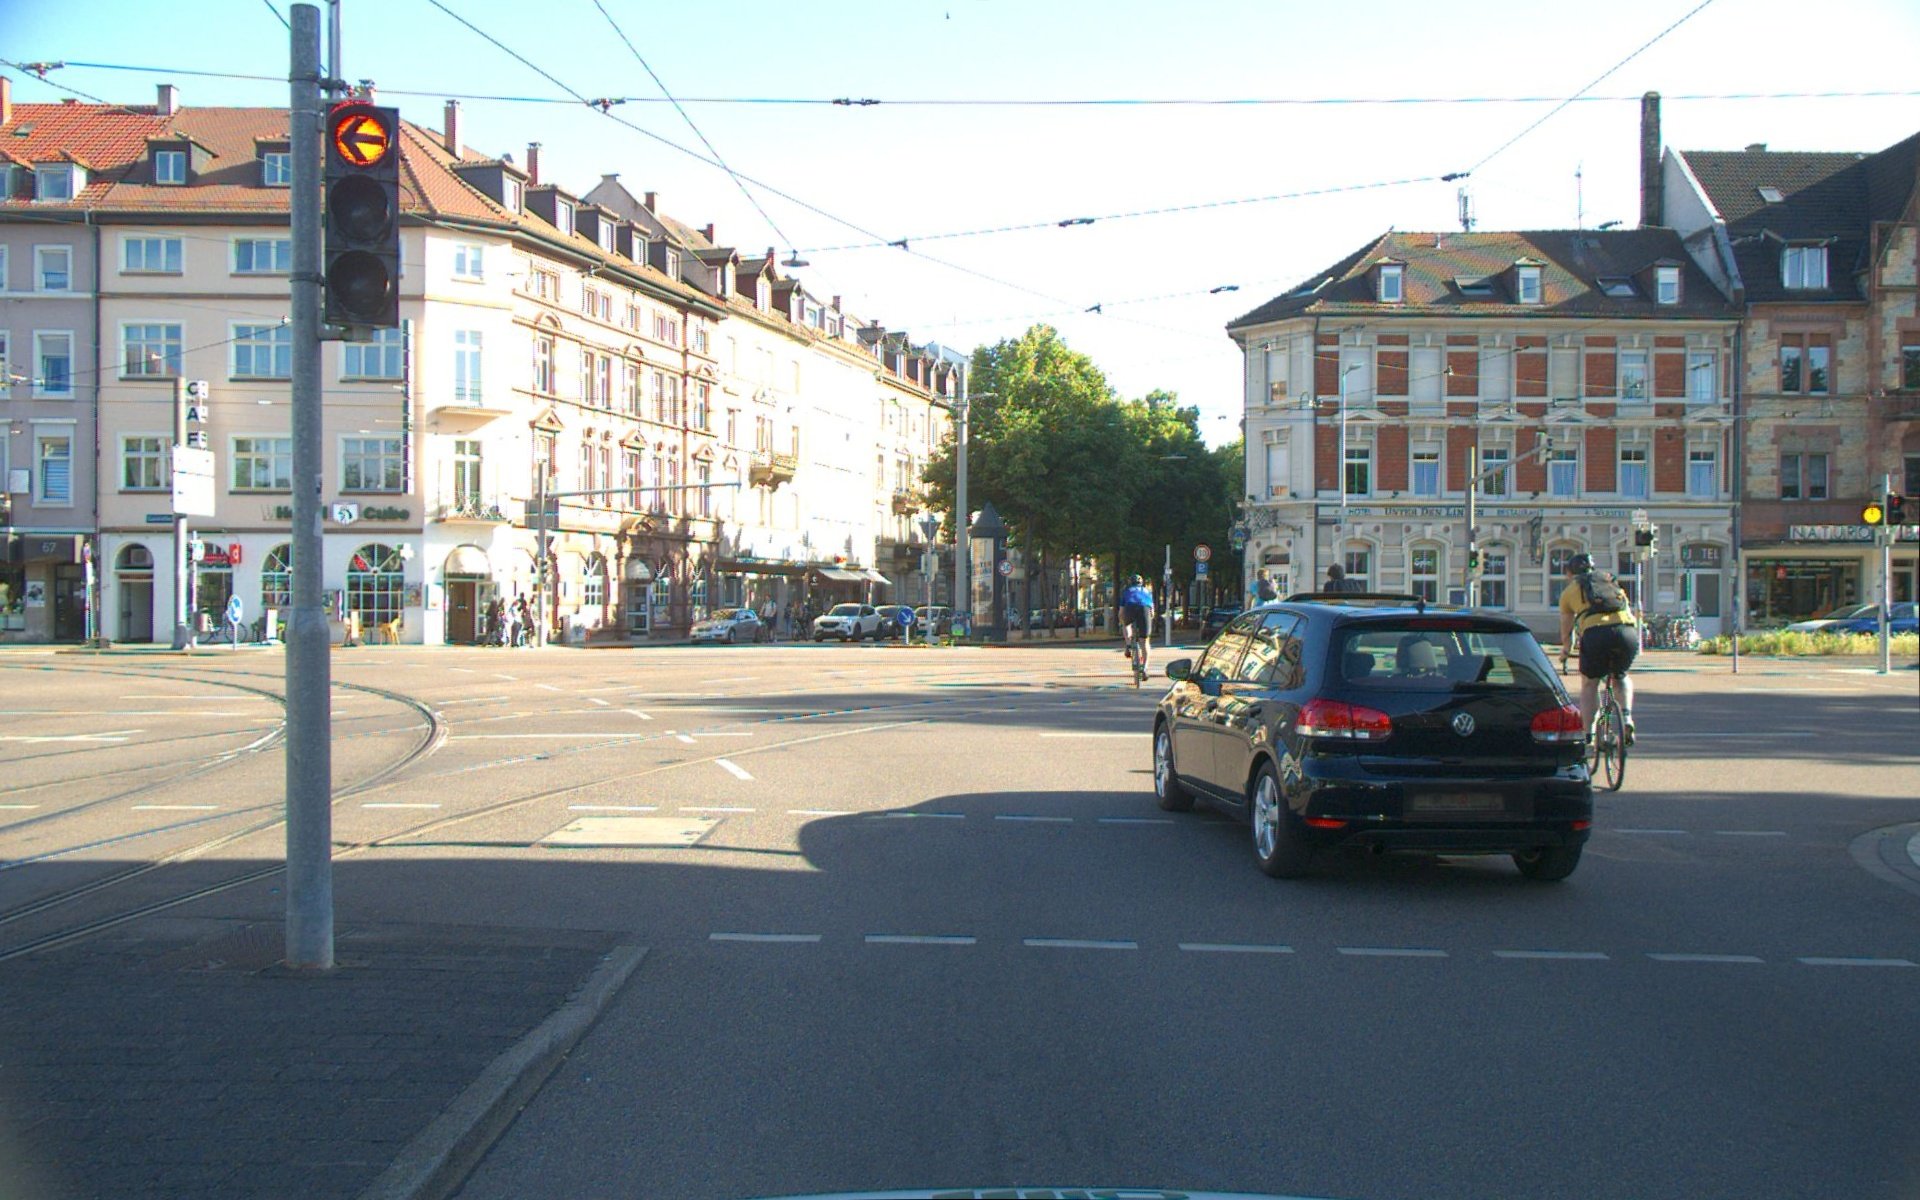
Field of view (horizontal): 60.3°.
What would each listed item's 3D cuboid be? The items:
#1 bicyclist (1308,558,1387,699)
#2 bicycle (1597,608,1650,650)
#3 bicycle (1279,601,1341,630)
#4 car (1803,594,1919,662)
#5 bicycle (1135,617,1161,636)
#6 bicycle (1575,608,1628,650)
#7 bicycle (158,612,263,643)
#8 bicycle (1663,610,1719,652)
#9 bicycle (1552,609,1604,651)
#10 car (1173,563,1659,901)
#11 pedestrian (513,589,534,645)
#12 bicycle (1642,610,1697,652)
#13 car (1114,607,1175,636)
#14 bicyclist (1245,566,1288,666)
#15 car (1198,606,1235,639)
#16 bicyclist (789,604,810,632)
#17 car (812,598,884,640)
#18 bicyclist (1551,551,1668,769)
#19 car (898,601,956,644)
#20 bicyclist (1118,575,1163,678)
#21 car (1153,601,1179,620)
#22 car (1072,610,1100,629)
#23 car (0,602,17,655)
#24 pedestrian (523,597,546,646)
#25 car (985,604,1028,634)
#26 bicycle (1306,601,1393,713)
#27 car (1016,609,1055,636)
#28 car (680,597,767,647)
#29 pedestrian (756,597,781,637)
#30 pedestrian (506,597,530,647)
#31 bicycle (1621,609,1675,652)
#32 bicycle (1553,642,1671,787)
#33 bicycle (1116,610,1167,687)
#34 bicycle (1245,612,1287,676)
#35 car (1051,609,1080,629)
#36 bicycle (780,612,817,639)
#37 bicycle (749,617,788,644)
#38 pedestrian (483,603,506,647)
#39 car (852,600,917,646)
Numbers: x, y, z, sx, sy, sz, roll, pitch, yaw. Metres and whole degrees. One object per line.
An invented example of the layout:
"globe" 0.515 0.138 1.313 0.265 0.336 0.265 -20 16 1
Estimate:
"bicyclist" 4.633 0.337 19.824 0.789 1.634 0.884 1 -1 5
"bicycle" 21.301 0.927 53.139 0.615 1.309 2.661 1 0 0
"bicycle" 12.114 0.527 57.275 2.006 1.015 0.631 0 -1 2
"car" 25.813 0.776 46.037 3.706 1.809 1.999 1 0 -2
"bicycle" 11.280 1.574 99.215 0.619 1.104 1.685 1 0 -31
"bicycle" 20.590 0.925 53.118 0.678 1.309 2.661 1 0 0
"bicycle" -25.522 0.940 56.345 3.066 0.997 1.001 1 0 -1
"bicycle" 23.477 0.991 53.164 0.615 1.309 2.661 1 0 0
"bicycle" 19.811 0.936 53.116 0.678 1.309 2.661 1 0 0
"car" 2.410 0.582 9.819 1.693 1.534 4.050 1 2 -1
"pedestrian" -15.246 0.591 57.783 0.620 1.914 0.465 1 -1 -5
"bicycle" 22.793 0.983 53.166 0.615 1.309 2.661 1 0 0
"car" 12.850 1.468 115.143 3.902 1.937 2.001 1 0 15
"bicyclist" 5.189 0.266 27.969 0.675 1.662 0.884 1 -1 11
"car" 12.865 1.125 82.767 1.655 1.592 3.844 1 0 11
"bicyclist" -6.825 0.763 70.220 0.618 1.205 0.685 1 -1 20
"car" -4.528 0.763 67.319 1.951 1.646 4.003 1 0 11
"bicyclist" 5.255 0.470 13.432 0.789 1.692 0.884 1 -1 16
"car" -1.571 1.067 79.478 1.951 1.937 4.003 1 0 11
"bicyclist" 2.741 0.395 25.182 0.625 1.520 0.884 1 1 3
"car" 16.802 0.839 134.880 1.526 1.540 3.658 1 0 16
"car" 10.388 1.612 136.184 1.526 1.540 3.658 1 0 16
"car" -32.392 0.911 52.424 3.902 1.699 2.002 0 0 8
"pedestrian" -14.655 0.748 57.025 0.620 1.662 0.700 1 -1 -4
"car" 3.180 1.290 112.729 1.951 1.937 4.002 1 0 16
"bicycle" 4.616 0.655 19.696 0.739 1.258 1.704 1 0 5
"car" 5.611 1.676 122.631 1.951 1.937 4.002 1 0 16
"car" -9.539 0.877 66.959 1.951 1.937 4.002 1 0 17
"pedestrian" -7.546 0.667 65.080 0.803 1.539 0.598 1 -1 14
"pedestrian" -14.865 0.746 55.665 0.620 1.662 0.700 1 -1 -4
"bicycle" 22.078 0.965 53.142 0.615 1.309 2.661 1 0 0
"bicycle" 5.261 0.887 13.433 0.739 1.049 1.781 1 0 17
"bicycle" 2.728 0.713 24.973 0.613 1.104 1.703 1 0 2
"bicycle" 5.217 0.734 28.116 0.635 1.049 1.772 1 0 12
"car" 8.445 1.523 132.023 1.526 1.540 3.658 1 0 16
"bicycle" -6.837 1.075 70.193 0.637 1.142 2.253 1 0 20
"bicycle" -7.534 1.206 65.151 0.746 1.025 2.398 1 0 13
"pedestrian" -15.934 0.845 56.615 0.620 1.502 0.465 1 -1 -5
"car" -3.330 1.011 73.479 1.951 1.937 4.003 1 0 11
